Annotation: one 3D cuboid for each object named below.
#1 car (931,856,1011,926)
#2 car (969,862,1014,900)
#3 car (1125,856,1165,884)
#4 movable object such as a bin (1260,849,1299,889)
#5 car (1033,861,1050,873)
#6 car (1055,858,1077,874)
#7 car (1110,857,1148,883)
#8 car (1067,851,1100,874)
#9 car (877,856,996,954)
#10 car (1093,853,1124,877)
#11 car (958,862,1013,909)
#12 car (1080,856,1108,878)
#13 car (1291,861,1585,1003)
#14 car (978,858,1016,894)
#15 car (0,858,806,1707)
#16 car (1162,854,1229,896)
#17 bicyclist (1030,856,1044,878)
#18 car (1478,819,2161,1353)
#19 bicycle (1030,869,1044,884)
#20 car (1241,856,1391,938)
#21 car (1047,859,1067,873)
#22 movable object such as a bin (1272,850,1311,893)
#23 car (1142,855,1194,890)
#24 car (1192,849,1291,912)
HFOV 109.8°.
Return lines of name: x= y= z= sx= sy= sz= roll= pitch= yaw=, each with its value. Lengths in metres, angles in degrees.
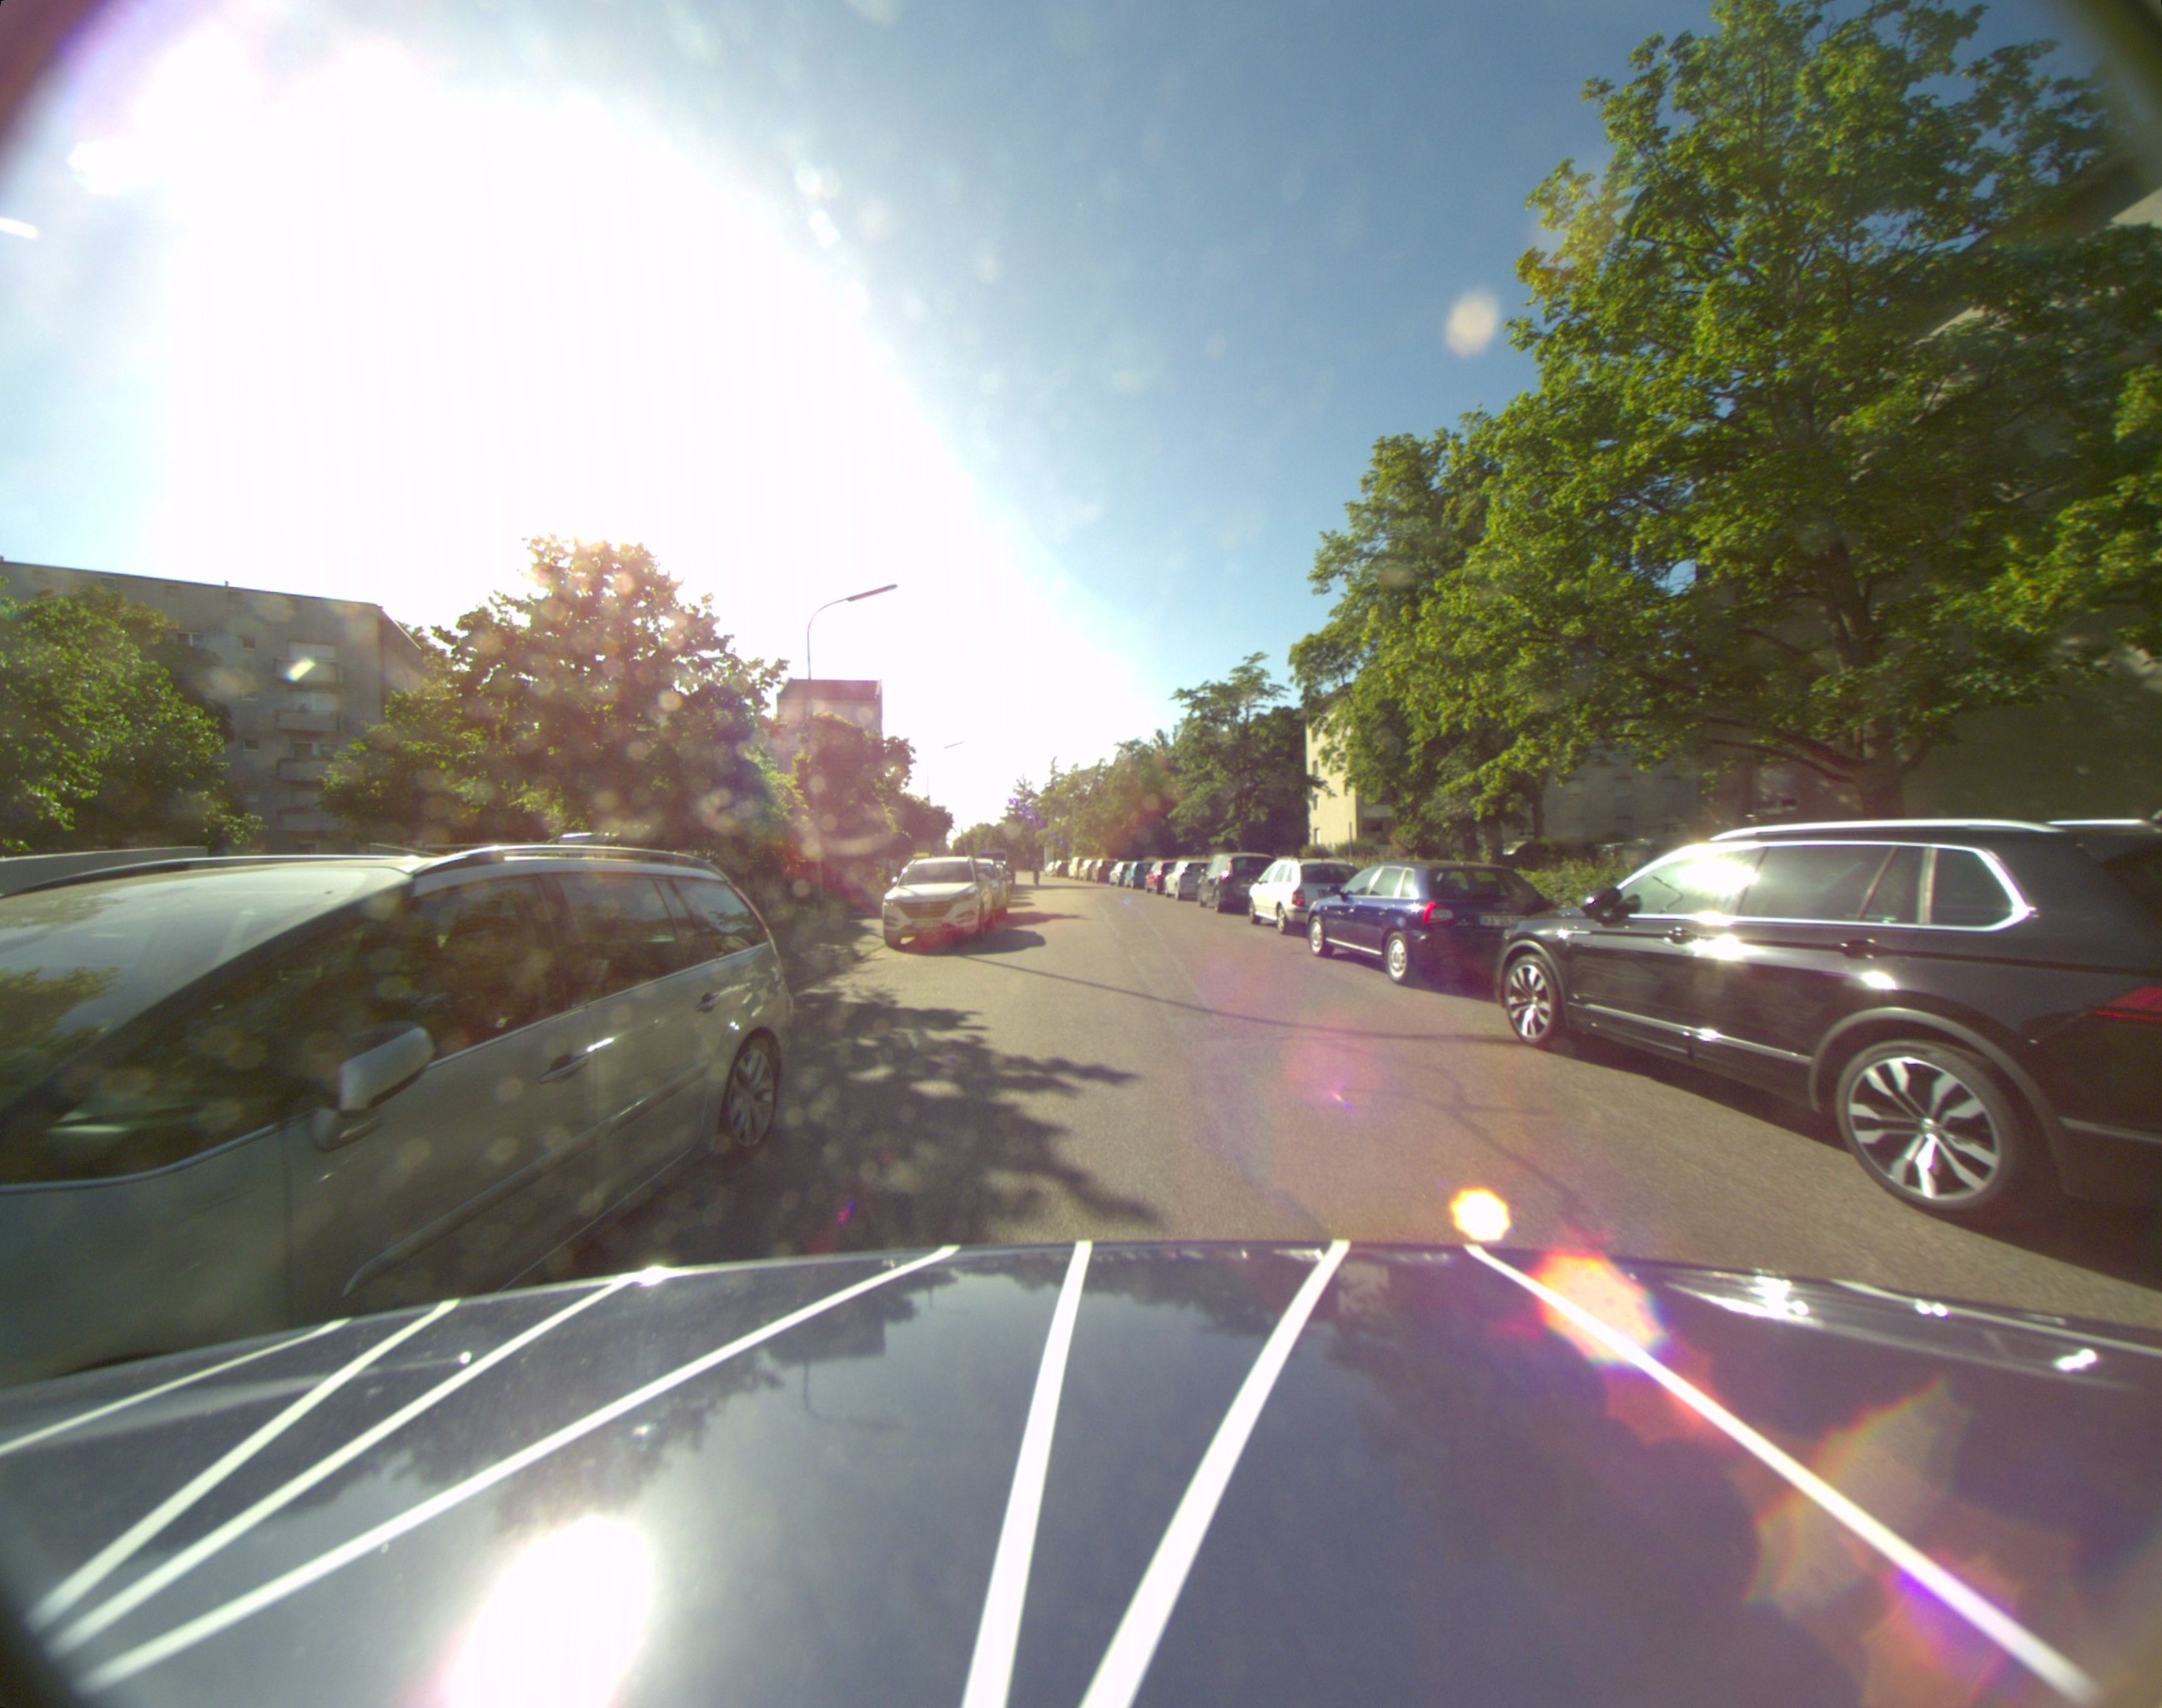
car: x=-2.942 y=0.933 z=21.139 sx=1.759 sy=1.676 sz=3.982 roll=-2 pitch=0 yaw=-3
car: x=-3.896 y=1.127 z=33.501 sx=1.759 sy=1.470 sz=3.900 roll=-2 pitch=0 yaw=-4
car: x=3.415 y=0.837 z=40.958 sx=1.658 sy=1.470 sz=3.104 roll=0 pitch=0 yaw=-4
movable object such as a bin: x=7.403 y=0.546 z=28.409 sx=0.978 sy=1.407 sz=1.189 roll=-5 pitch=1 yaw=-3
car: x=-5.031 y=1.670 z=96.112 sx=1.659 sy=1.426 sz=3.687 roll=0 pitch=0 yaw=-10
car: x=-1.512 y=1.199 z=76.935 sx=1.659 sy=1.558 sz=3.687 roll=0 pitch=0 yaw=-10
car: x=2.854 y=0.948 z=45.987 sx=1.658 sy=1.470 sz=3.733 roll=0 pitch=0 yaw=-6
car: x=0.159 y=0.702 z=65.081 sx=1.886 sy=1.857 sz=5.435 roll=0 pitch=0 yaw=-9
car: x=-2.810 y=0.917 z=15.728 sx=1.759 sy=1.664 sz=4.412 roll=-2 pitch=0 yaw=-3
car: x=1.857 y=0.762 z=53.183 sx=1.658 sy=1.621 sz=4.070 roll=0 pitch=0 yaw=-5
car: x=-3.447 y=1.103 z=28.110 sx=1.759 sy=1.470 sz=4.367 roll=-4 pitch=0 yaw=-5
car: x=0.980 y=0.975 z=59.432 sx=1.658 sy=1.621 sz=3.688 roll=0 pitch=0 yaw=-7
car: x=4.174 y=0.803 z=9.723 sx=1.642 sy=1.377 sz=4.170 roll=0 pitch=0 yaw=-3
car: x=-4.271 y=1.070 z=38.724 sx=1.759 sy=1.684 sz=3.900 roll=-2 pitch=0 yaw=-6
car: x=-2.649 y=0.865 z=2.356 sx=1.758 sy=1.617 sz=4.495 roll=-2 pitch=0 yaw=2
car: x=4.242 y=0.743 z=28.616 sx=1.811 sy=1.470 sz=3.940 roll=0 pitch=0 yaw=-2
bicyclist: x=-2.845 y=0.829 z=49.292 sx=0.813 sy=1.348 sz=1.090 roll=-2 pitch=0 yaw=-3
car: x=4.231 y=0.715 z=4.224 sx=1.758 sy=1.659 sz=4.390 roll=0 pitch=0 yaw=0
bicycle: x=-2.823 y=1.430 z=49.176 sx=0.824 sy=0.896 sz=2.202 roll=-2 pitch=0 yaw=-3
car: x=4.571 y=0.768 z=15.438 sx=1.758 sy=1.428 sz=4.150 roll=0 pitch=0 yaw=0
car: x=-2.637 y=1.271 z=83.069 sx=1.659 sy=1.426 sz=3.687 roll=0 pitch=0 yaw=-10
movable object such as a bin: x=7.492 y=0.604 z=27.071 sx=0.897 sy=1.407 sz=1.264 roll=-5 pitch=1 yaw=-3
car: x=3.830 y=0.770 z=34.021 sx=1.635 sy=1.470 sz=3.878 roll=0 pitch=0 yaw=-4
car: x=4.470 y=0.685 z=21.821 sx=1.811 sy=1.596 sz=4.432 roll=0 pitch=0 yaw=-1
